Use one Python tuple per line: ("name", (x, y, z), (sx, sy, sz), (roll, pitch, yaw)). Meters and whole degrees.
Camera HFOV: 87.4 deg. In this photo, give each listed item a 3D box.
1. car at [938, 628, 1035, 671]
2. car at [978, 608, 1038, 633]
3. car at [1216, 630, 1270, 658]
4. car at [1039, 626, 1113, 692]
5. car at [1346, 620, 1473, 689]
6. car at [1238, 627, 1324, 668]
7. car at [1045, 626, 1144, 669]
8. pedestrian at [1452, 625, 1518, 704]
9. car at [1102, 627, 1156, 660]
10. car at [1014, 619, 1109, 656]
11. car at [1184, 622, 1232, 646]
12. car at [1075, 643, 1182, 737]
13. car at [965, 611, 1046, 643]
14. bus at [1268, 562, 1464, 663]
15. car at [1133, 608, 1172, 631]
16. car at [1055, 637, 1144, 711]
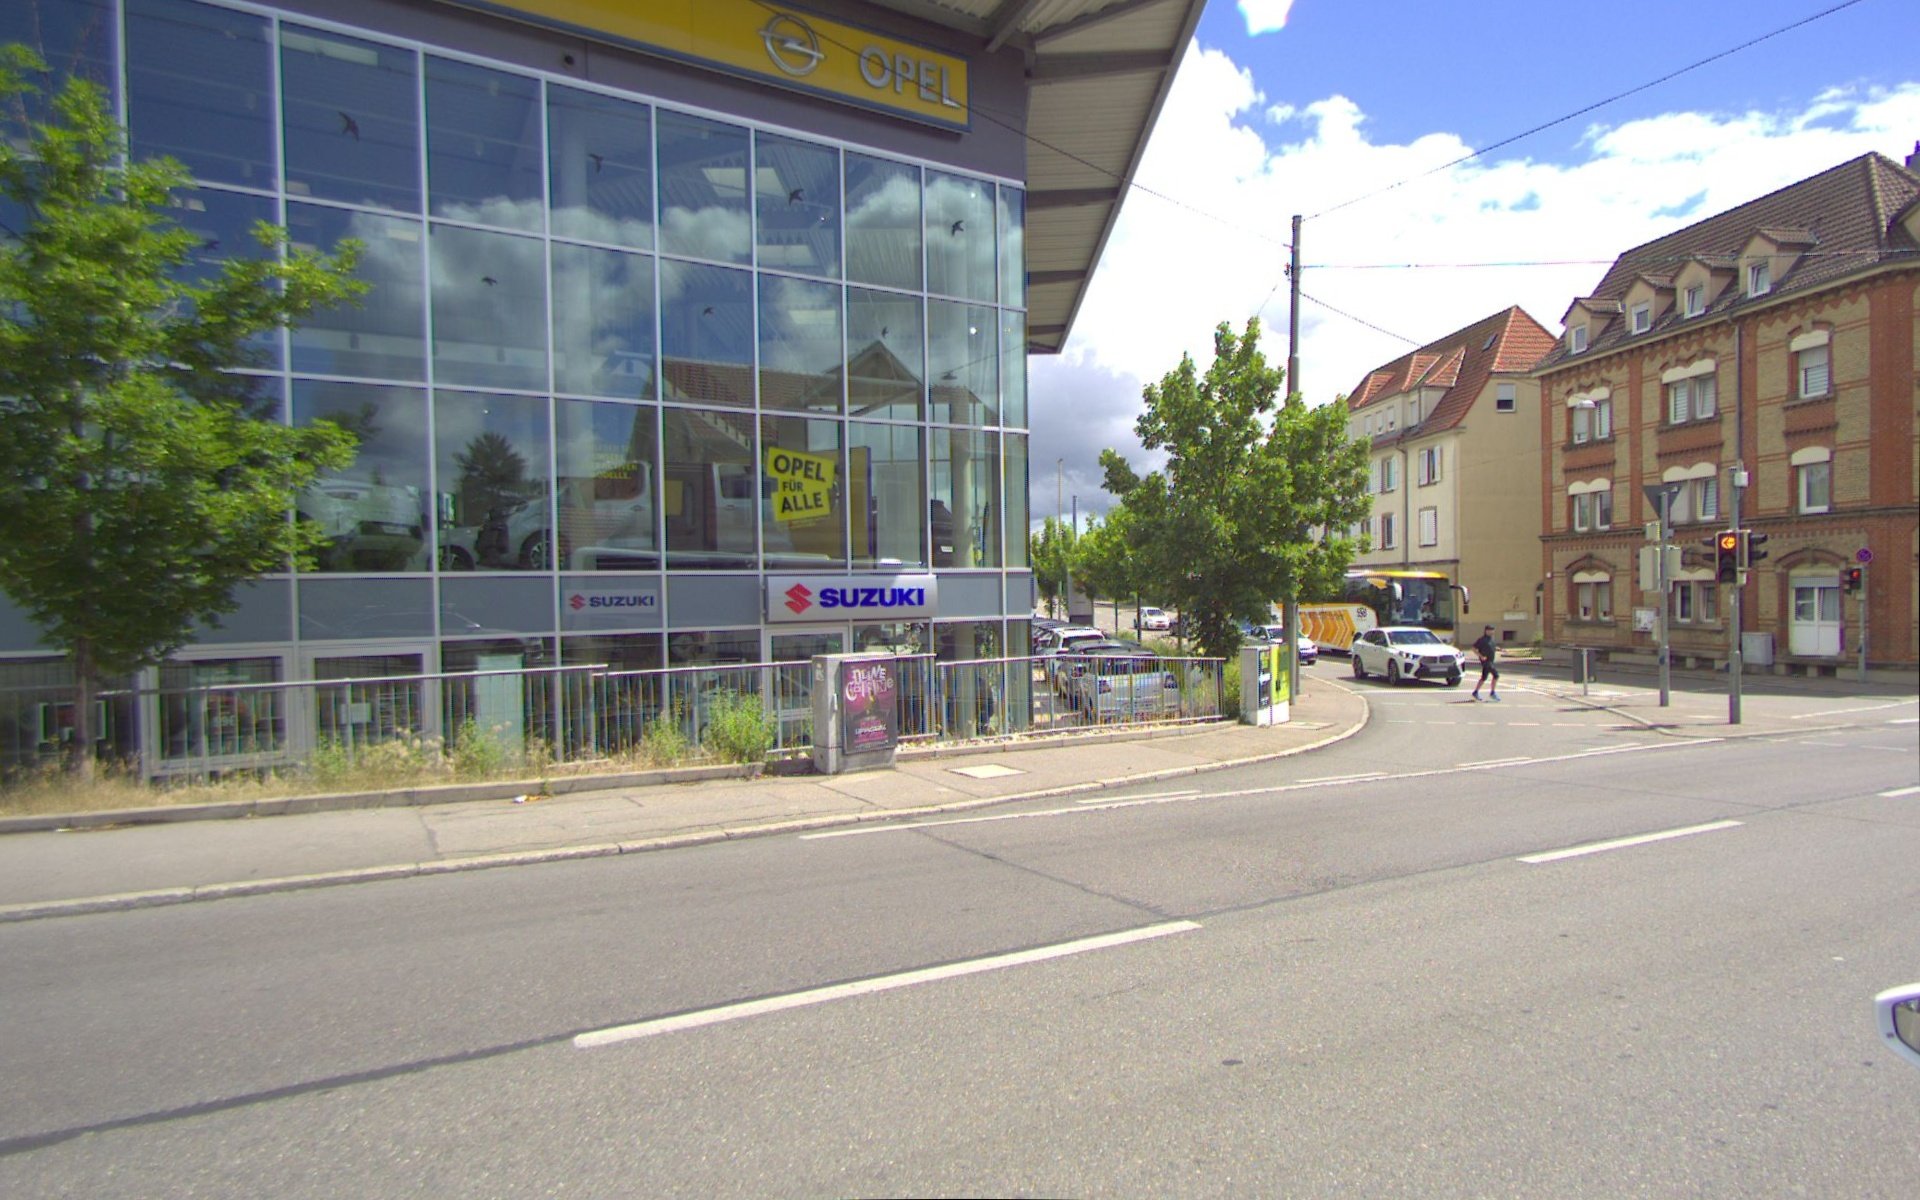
("car", (0.929, 1.796, 36.954), (3.432, 1.467, 1.799), (-1, 0, -3))
("car", (3.188, 1.358, 67.415), (3.922, 1.574, 1.807), (1, -1, -1))
("car", (15.768, 2.447, 56.072), (1.717, 1.428, 3.999), (1, -1, -3))
("car", (3.309, 1.658, 29.193), (1.620, 1.703, 3.499), (-1, 0, -2))
("car", (12.860, 1.515, 29.041), (1.797, 1.573, 4.306), (-2, 2, 1))
("car", (12.209, 1.786, 38.419), (1.849, 1.437, 3.618), (1, -1, -6))
("car", (4.952, 1.754, 37.324), (3.430, 1.497, 1.800), (1, -1, 1))
("pedestrian", (12.134, 1.460, 23.237), (0.751, 1.757, 1.133), (1, -1, -34))
("car", (8.199, 2.085, 48.882), (1.766, 1.467, 3.498), (1, -1, -5))
("car", (4.503, 1.675, 44.985), (3.925, 1.574, 1.806), (1, -1, -7))
("car", (15.571, 2.124, 63.319), (1.874, 1.428, 3.999), (1, -1, -2))
("car", (3.323, 1.751, 20.368), (1.648, 1.582, 3.365), (-1, 0, 1))
("car", (2.362, 1.414, 52.788), (3.930, 1.574, 1.804), (1, -1, -12))
("bus", (16.926, 0.555, 43.317), (2.718, 3.670, 12.258), (1, -1, -4))
("car", (13.659, 1.371, 71.478), (1.874, 1.574, 3.999), (1, -1, -2))
("car", (3.344, 1.748, 24.597), (1.584, 1.547, 3.499), (-1, 0, -2))
